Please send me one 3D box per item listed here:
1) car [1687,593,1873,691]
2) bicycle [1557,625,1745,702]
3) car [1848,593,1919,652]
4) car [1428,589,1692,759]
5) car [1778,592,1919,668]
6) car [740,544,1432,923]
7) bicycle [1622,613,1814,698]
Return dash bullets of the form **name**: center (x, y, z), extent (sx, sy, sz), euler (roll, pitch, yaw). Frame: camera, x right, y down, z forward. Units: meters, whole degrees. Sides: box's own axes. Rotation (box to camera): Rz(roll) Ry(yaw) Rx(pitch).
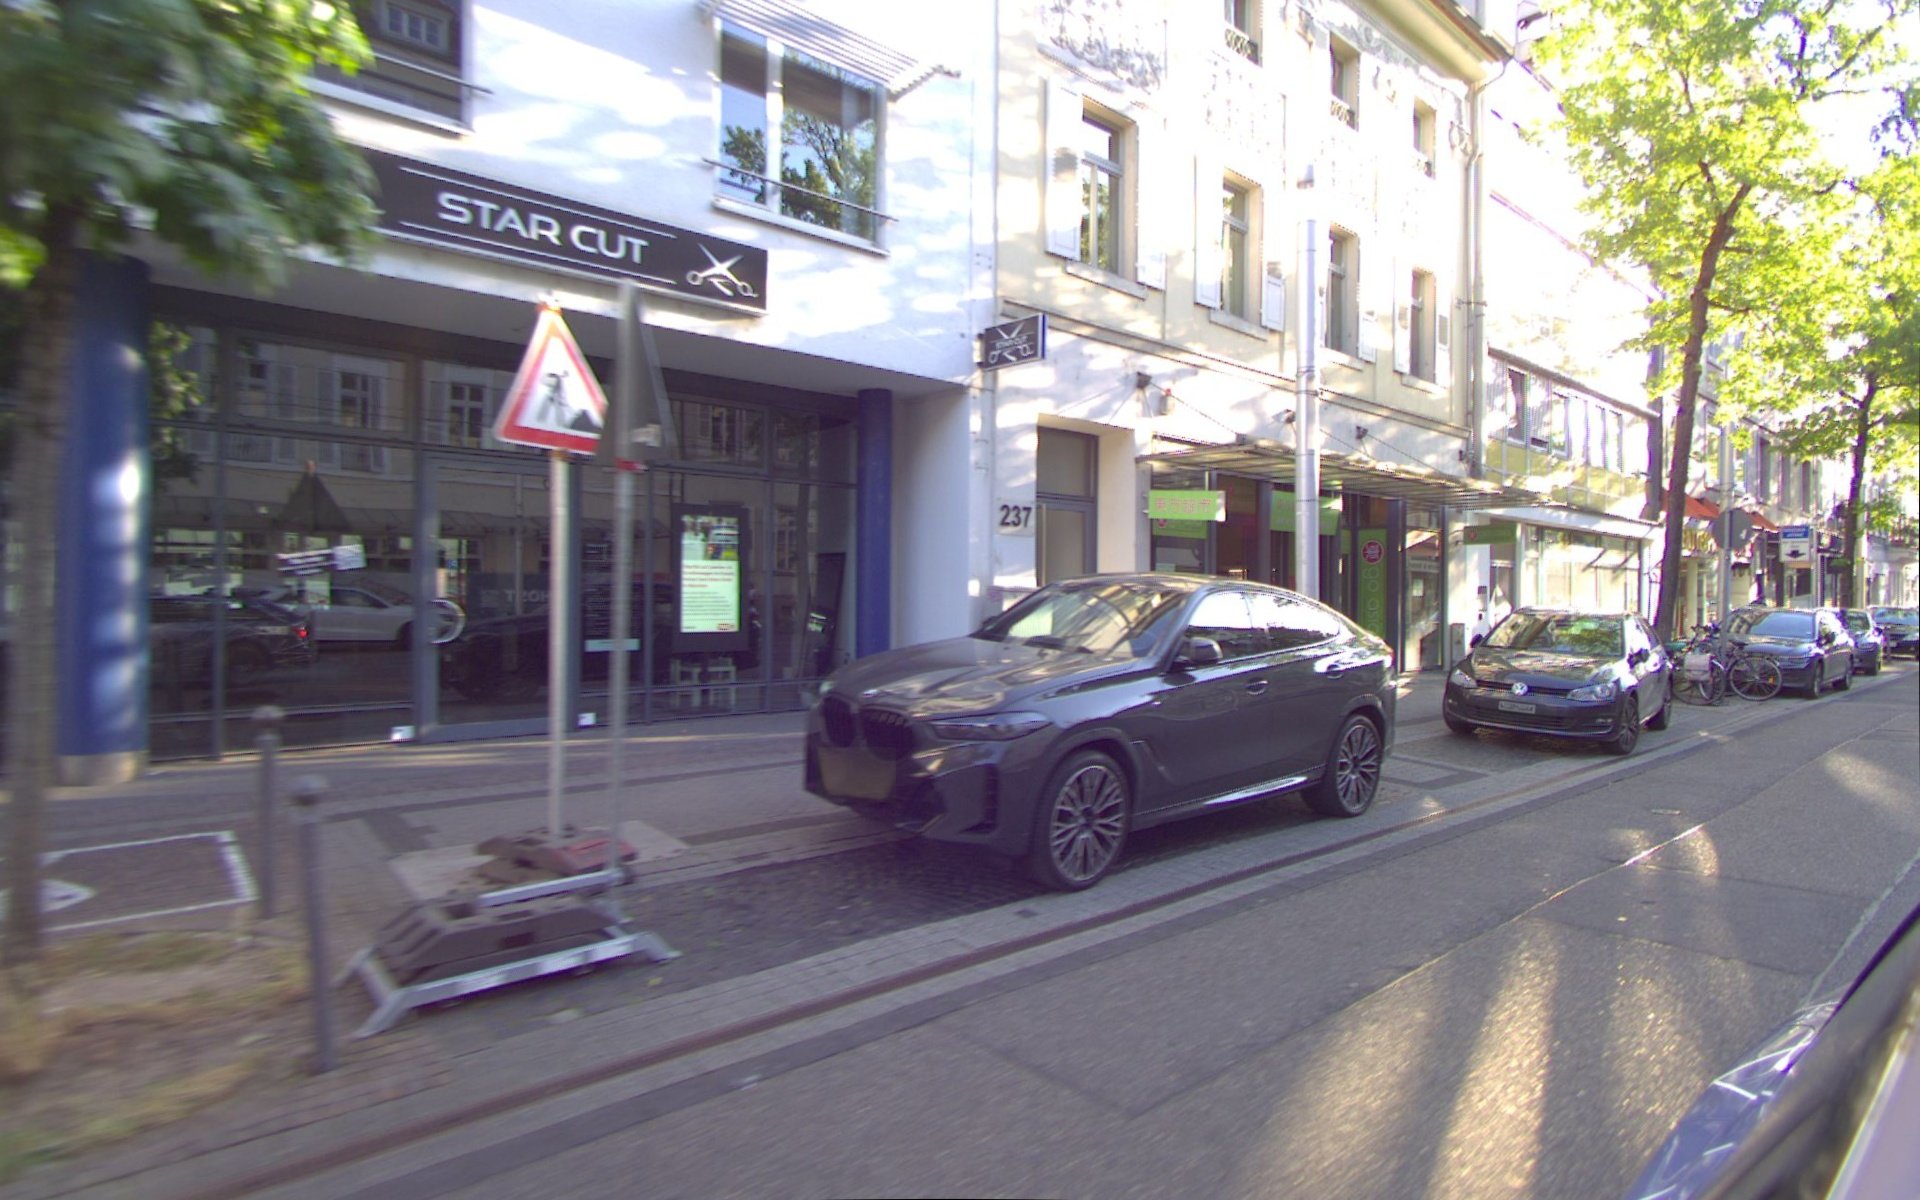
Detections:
- **car**: center (14.536, 0.657, 17.870), extent (4.210, 1.530, 1.769), euler (0, 0, -40)
- **bicycle**: center (10.278, 0.913, 15.140), extent (0.603, 1.000, 2.249), euler (0, 0, -38)
- **car**: center (27.141, 0.615, 29.119), extent (3.915, 1.529, 1.798), euler (0, 3, -41)
- **car**: center (7.122, 0.678, 11.810), extent (1.864, 1.529, 4.181), euler (4, 3, 41)
- **car**: center (20.717, 0.633, 23.529), extent (4.211, 1.529, 1.869), euler (0, 3, -41)
- **car**: center (1.134, 0.568, 6.948), extent (4.788, 1.709, 1.984), euler (0, 3, -41)
- **bicycle**: center (11.937, 0.827, 16.019), extent (0.737, 1.203, 2.325), euler (0, 0, -38)
